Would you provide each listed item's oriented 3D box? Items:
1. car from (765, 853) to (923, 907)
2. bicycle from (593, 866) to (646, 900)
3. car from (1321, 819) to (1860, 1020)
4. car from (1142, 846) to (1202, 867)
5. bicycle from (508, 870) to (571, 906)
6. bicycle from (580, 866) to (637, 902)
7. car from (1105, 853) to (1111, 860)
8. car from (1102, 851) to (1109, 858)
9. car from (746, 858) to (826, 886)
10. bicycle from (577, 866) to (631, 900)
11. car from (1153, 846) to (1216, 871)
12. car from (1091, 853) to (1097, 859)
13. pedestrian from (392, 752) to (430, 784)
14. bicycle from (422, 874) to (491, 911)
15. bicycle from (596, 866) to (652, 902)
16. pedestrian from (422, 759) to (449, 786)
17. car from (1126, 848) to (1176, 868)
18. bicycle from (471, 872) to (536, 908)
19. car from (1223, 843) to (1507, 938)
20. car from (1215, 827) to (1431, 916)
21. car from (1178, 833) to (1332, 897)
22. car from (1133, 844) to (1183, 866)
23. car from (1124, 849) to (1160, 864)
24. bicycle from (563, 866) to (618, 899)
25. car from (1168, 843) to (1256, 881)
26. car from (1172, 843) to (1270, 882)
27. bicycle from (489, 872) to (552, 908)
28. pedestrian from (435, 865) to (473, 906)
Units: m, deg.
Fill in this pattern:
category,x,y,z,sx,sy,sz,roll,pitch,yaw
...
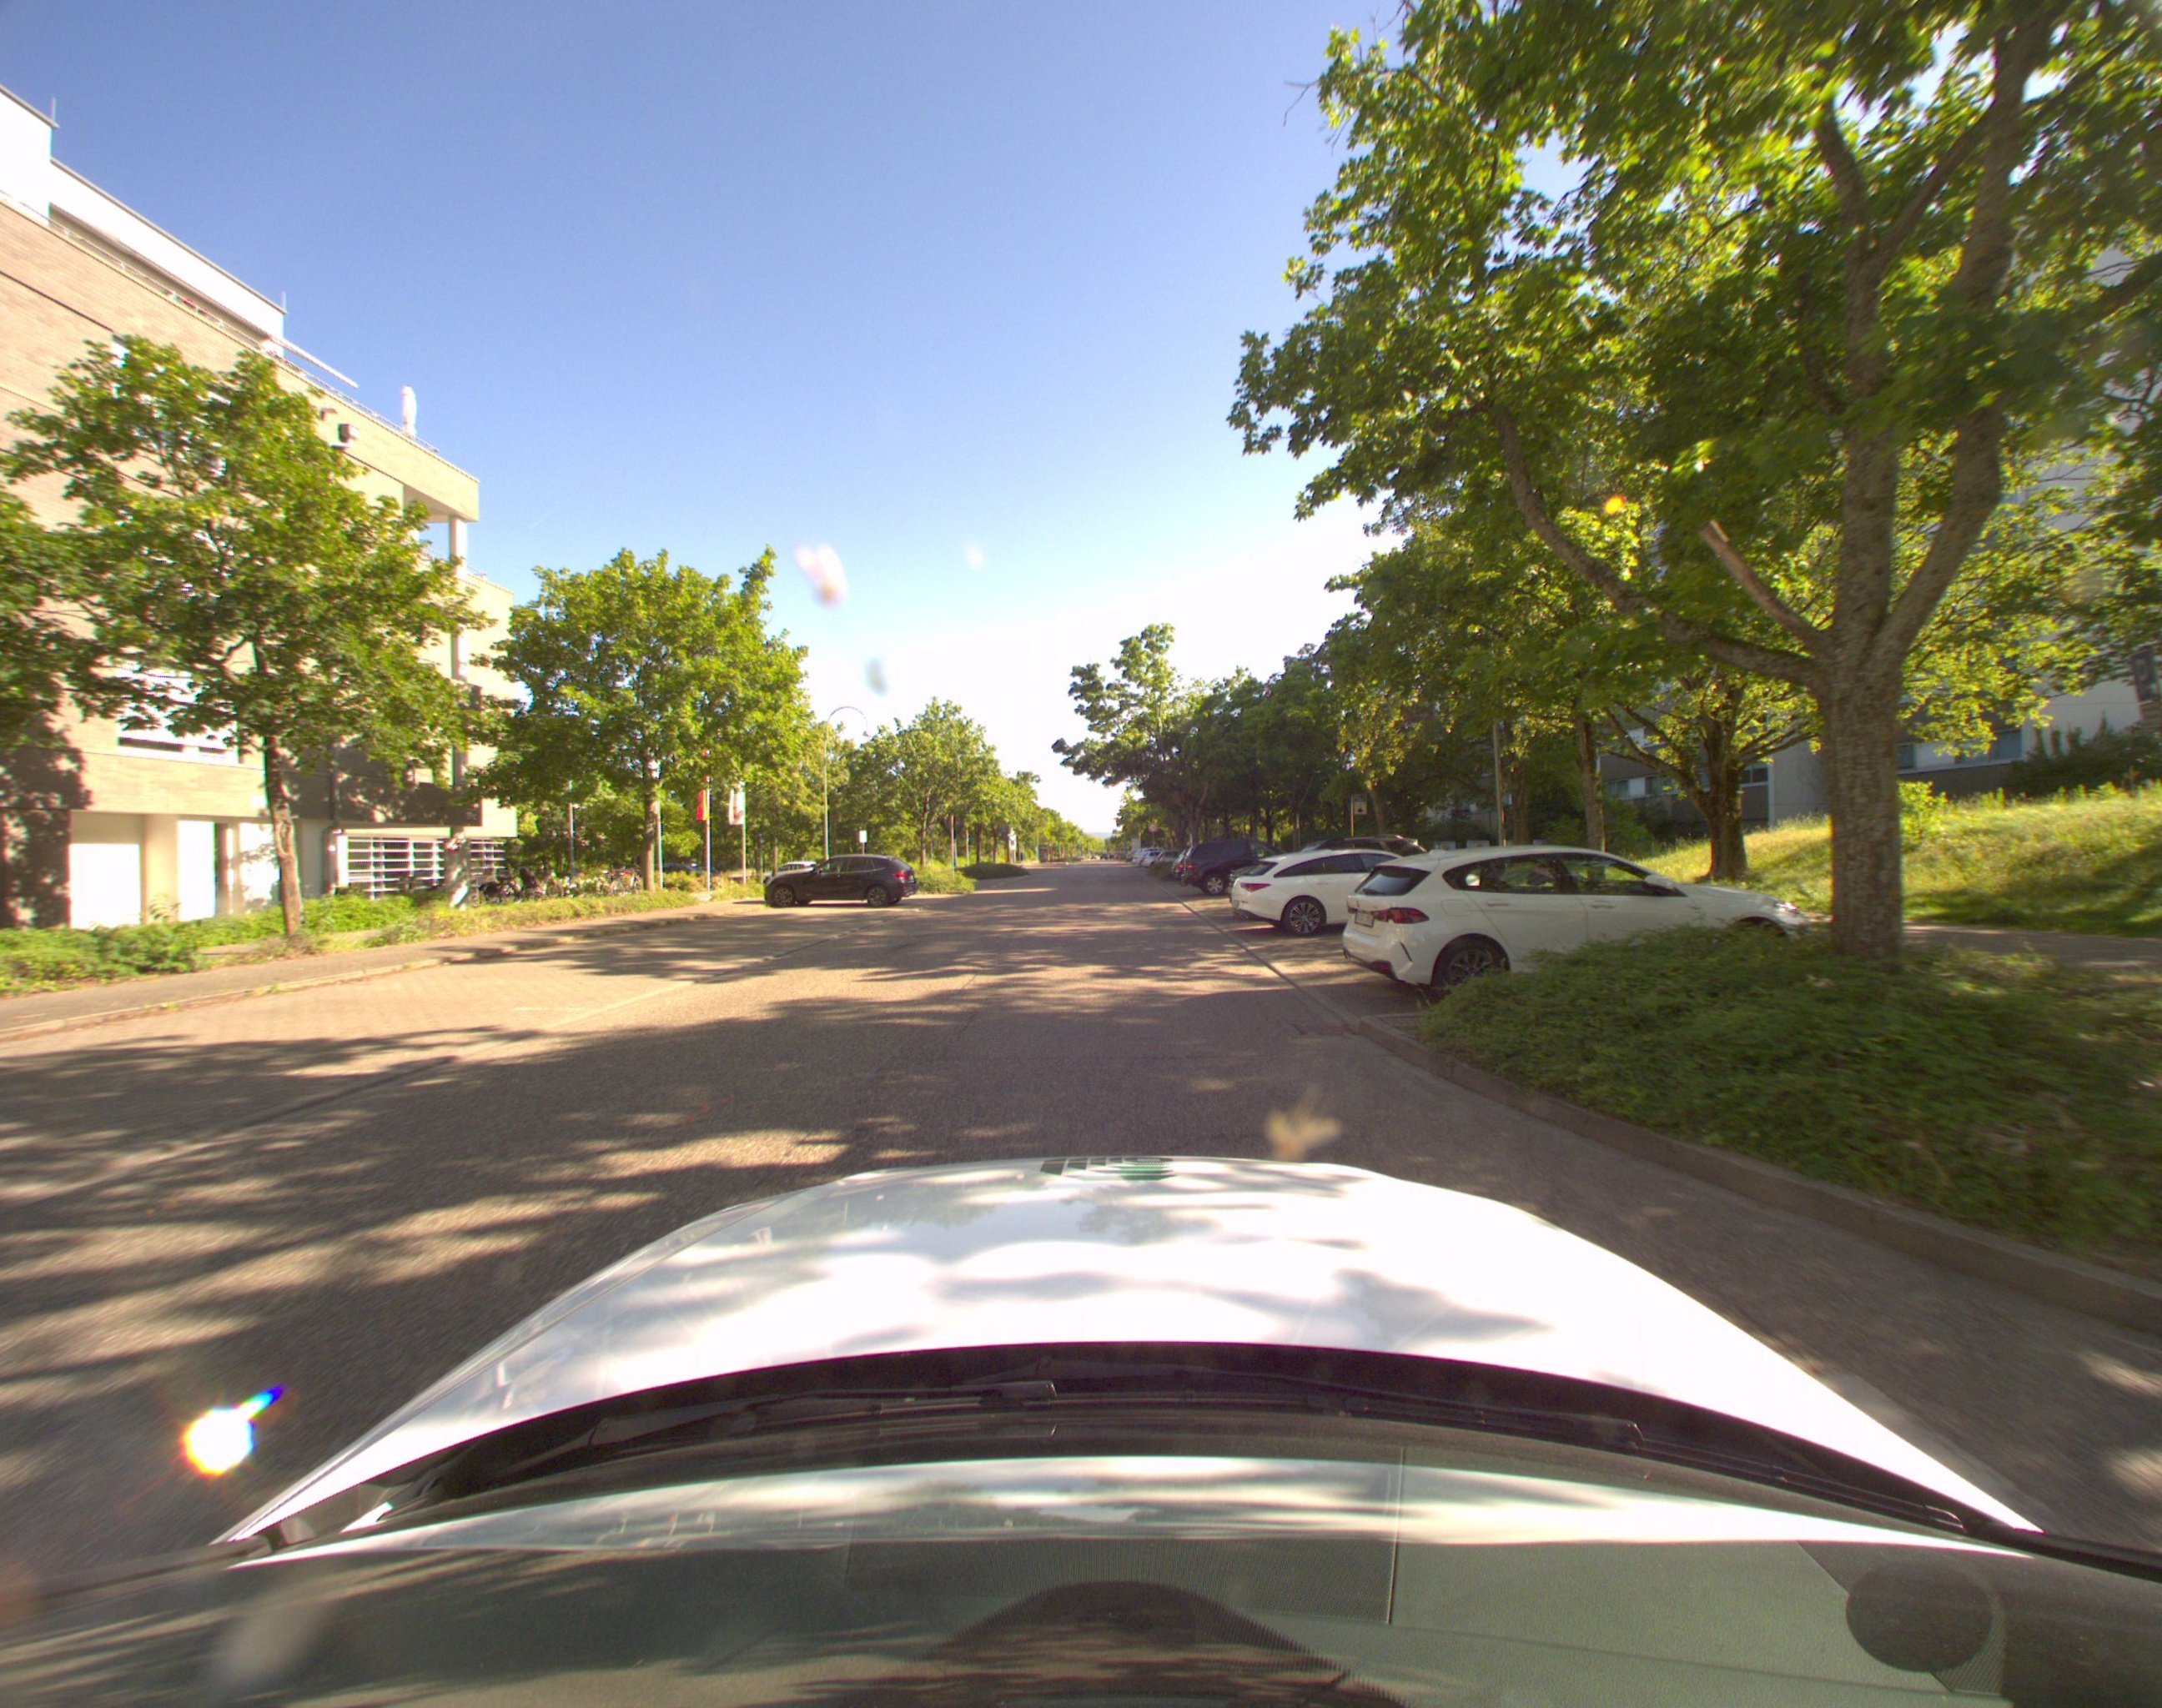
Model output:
category,x,y,z,sx,sy,sz,roll,pitch,yaw
car,-7.035,0.748,24.461,4.176,1.520,1.773,0,0,2
bicycle,-15.389,0.948,27.218,0.435,1.047,2.194,0,0,2
car,5.000,0.600,8.444,4.414,1.593,1.836,-3,0,-1
car,6.570,0.175,59.014,4.252,1.428,1.831,-1,0,6
bicycle,-17.029,1.049,25.677,0.435,1.047,2.194,0,0,2
bicycle,-14.862,0.934,25.689,0.435,1.047,2.194,0,0,2
car,8.348,0.747,250.284,1.986,2.013,4.002,0,0,2
car,7.286,0.102,237.893,1.986,2.013,4.002,0,0,2
car,-17.445,1.062,48.188,4.060,1.451,1.626,-3,0,3
bicycle,-15.906,0.941,27.238,0.435,1.047,2.194,0,0,2
car,6.850,0.299,54.191,3.972,1.451,1.718,-3,0,1
car,3.943,0.609,248.764,1.821,1.775,3.742,0,0,2
pedestrian,-17.846,-2.293,21.704,0.680,0.798,0.362,0,0,-6
bicycle,-19.846,1.199,25.935,0.435,1.047,2.194,0,0,2
bicycle,-14.381,0.928,25.687,0.435,1.047,2.194,0,0,2
pedestrian,-17.710,-2.230,22.340,0.415,0.686,0.426,0,0,-7
car,6.240,0.316,72.922,4.329,1.489,1.738,-4,0,0
bicycle,-18.370,1.133,25.979,0.435,1.047,2.194,0,0,2
car,4.894,0.610,14.482,4.429,1.545,1.816,0,0,-1
car,5.135,0.373,17.643,4.105,1.618,1.733,-3,-1,-1
car,5.572,0.357,26.585,4.569,1.779,2.001,-3,0,1
car,7.146,0.084,75.606,4.421,1.647,1.816,-4,0,0
car,7.269,0.325,97.282,4.149,1.428,2.001,-4,0,1
bicycle,-16.398,0.936,27.266,0.435,1.047,2.194,0,0,2
car,6.173,0.365,38.547,3.798,1.499,1.700,-3,0,-2
car,6.094,0.363,35.765,3.972,1.387,1.823,-4,0,1
bicycle,-17.836,1.118,25.967,0.435,1.047,2.194,0,0,2
pedestrian,-21.303,1.058,27.681,0.665,1.361,0.745,-2,0,3
